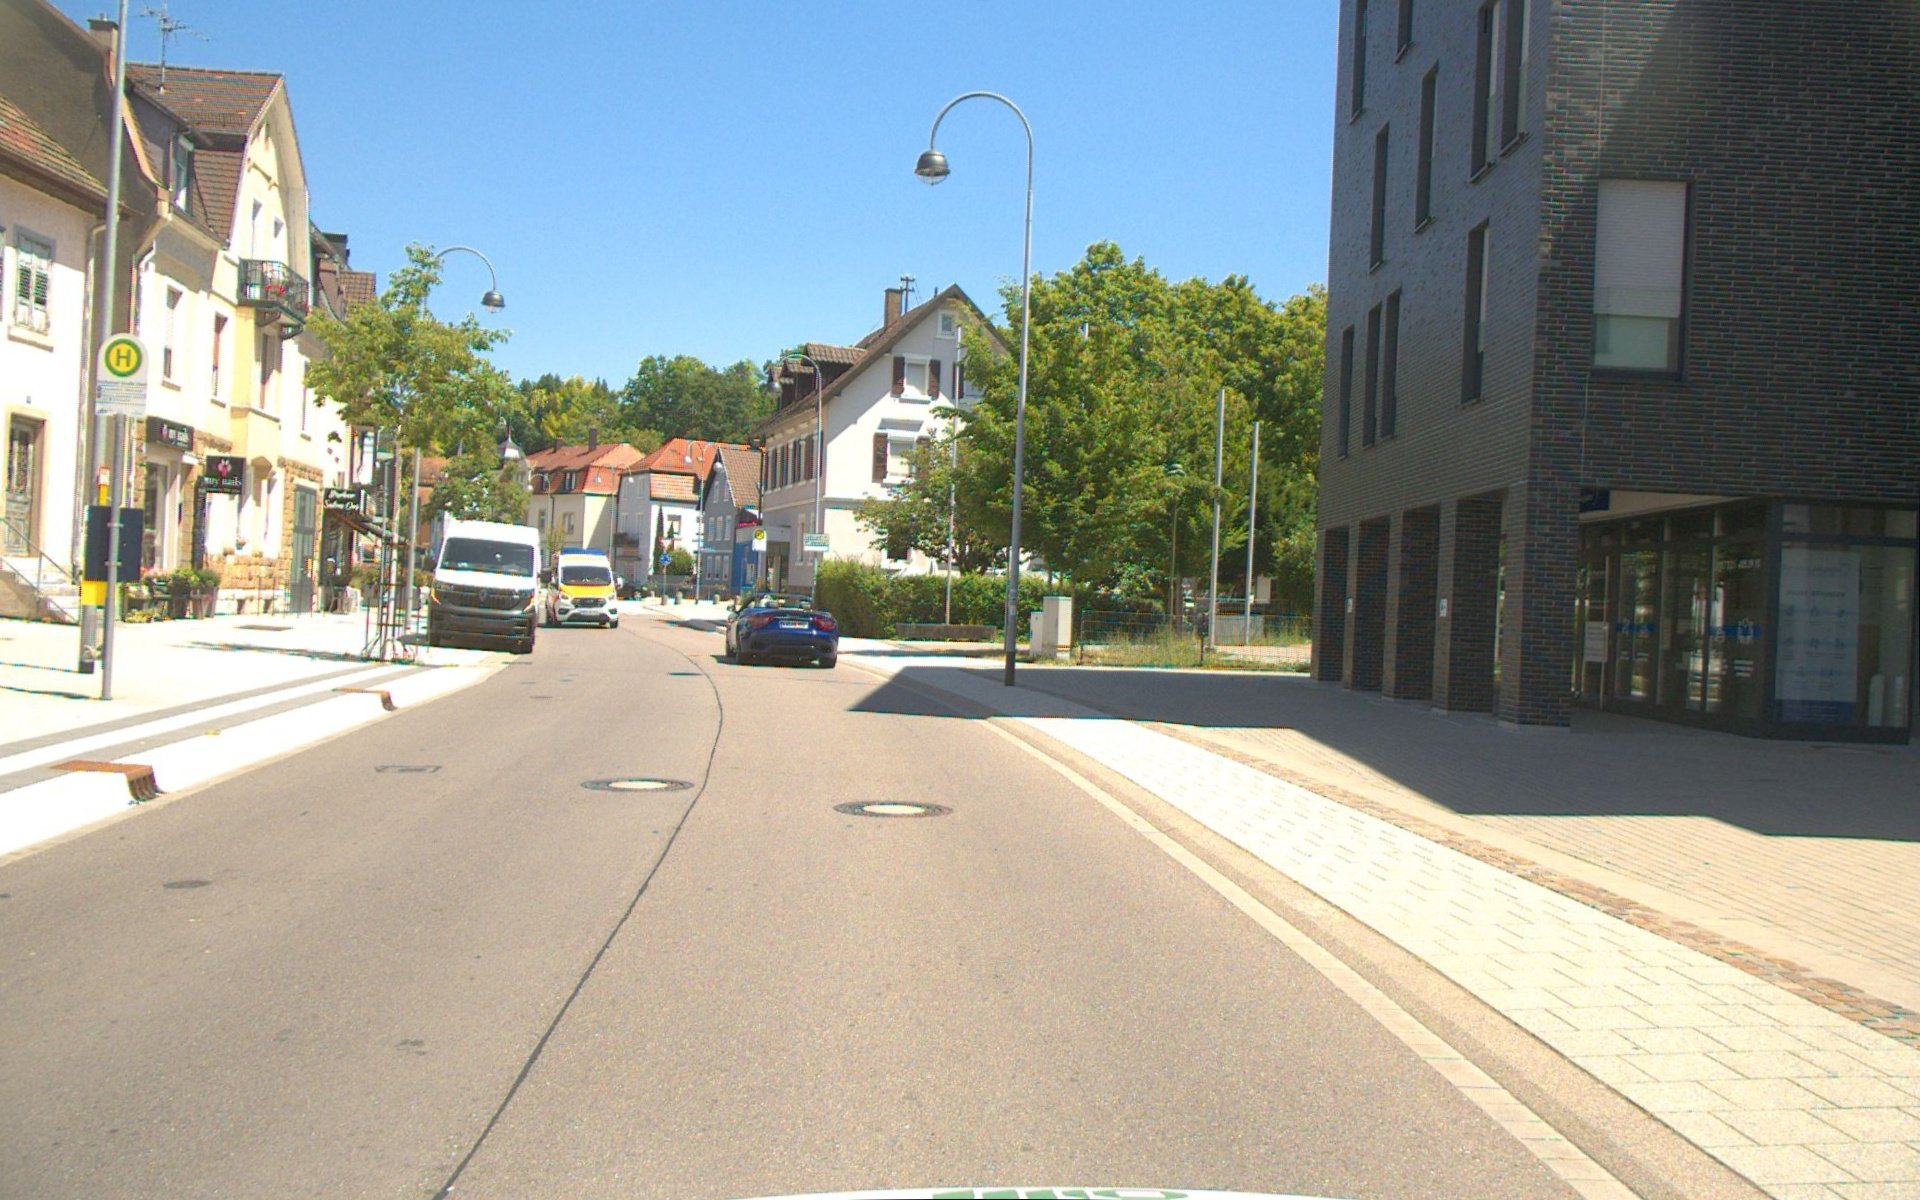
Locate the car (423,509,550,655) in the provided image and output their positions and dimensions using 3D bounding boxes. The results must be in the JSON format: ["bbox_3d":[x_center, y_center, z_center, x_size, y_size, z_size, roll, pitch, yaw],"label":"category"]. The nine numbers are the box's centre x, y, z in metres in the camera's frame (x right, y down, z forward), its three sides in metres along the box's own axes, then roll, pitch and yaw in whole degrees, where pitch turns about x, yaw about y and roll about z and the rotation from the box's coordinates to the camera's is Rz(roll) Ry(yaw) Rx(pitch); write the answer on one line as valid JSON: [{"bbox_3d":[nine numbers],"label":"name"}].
[{"bbox_3d":[-9.430,-0.353,33.329,2.057,2.541,5.483,4,0,-14],"label":"car"}]

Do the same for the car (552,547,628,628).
[{"bbox_3d":[-11.824,-0.413,52.580,2.120,2.403,5.227,1,0,-15],"label":"car"}]

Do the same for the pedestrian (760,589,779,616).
[{"bbox_3d":[-7.410,0.085,64.238,0.581,1.017,0.720,1,1,-18],"label":"pedestrian"}]

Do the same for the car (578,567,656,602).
[{"bbox_3d":[-19.316,-0.865,93.166,3.905,1.780,1.919,3,0,1],"label":"car"}]

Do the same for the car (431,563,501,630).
[{"bbox_3d":[-12.400,-0.087,41.638,1.534,1.547,3.501,3,-1,-15],"label":"car"}]

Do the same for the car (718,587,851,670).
[{"bbox_3d":[-3.476,0.506,32.046,1.879,1.384,4.268,4,0,-15],"label":"car"}]
